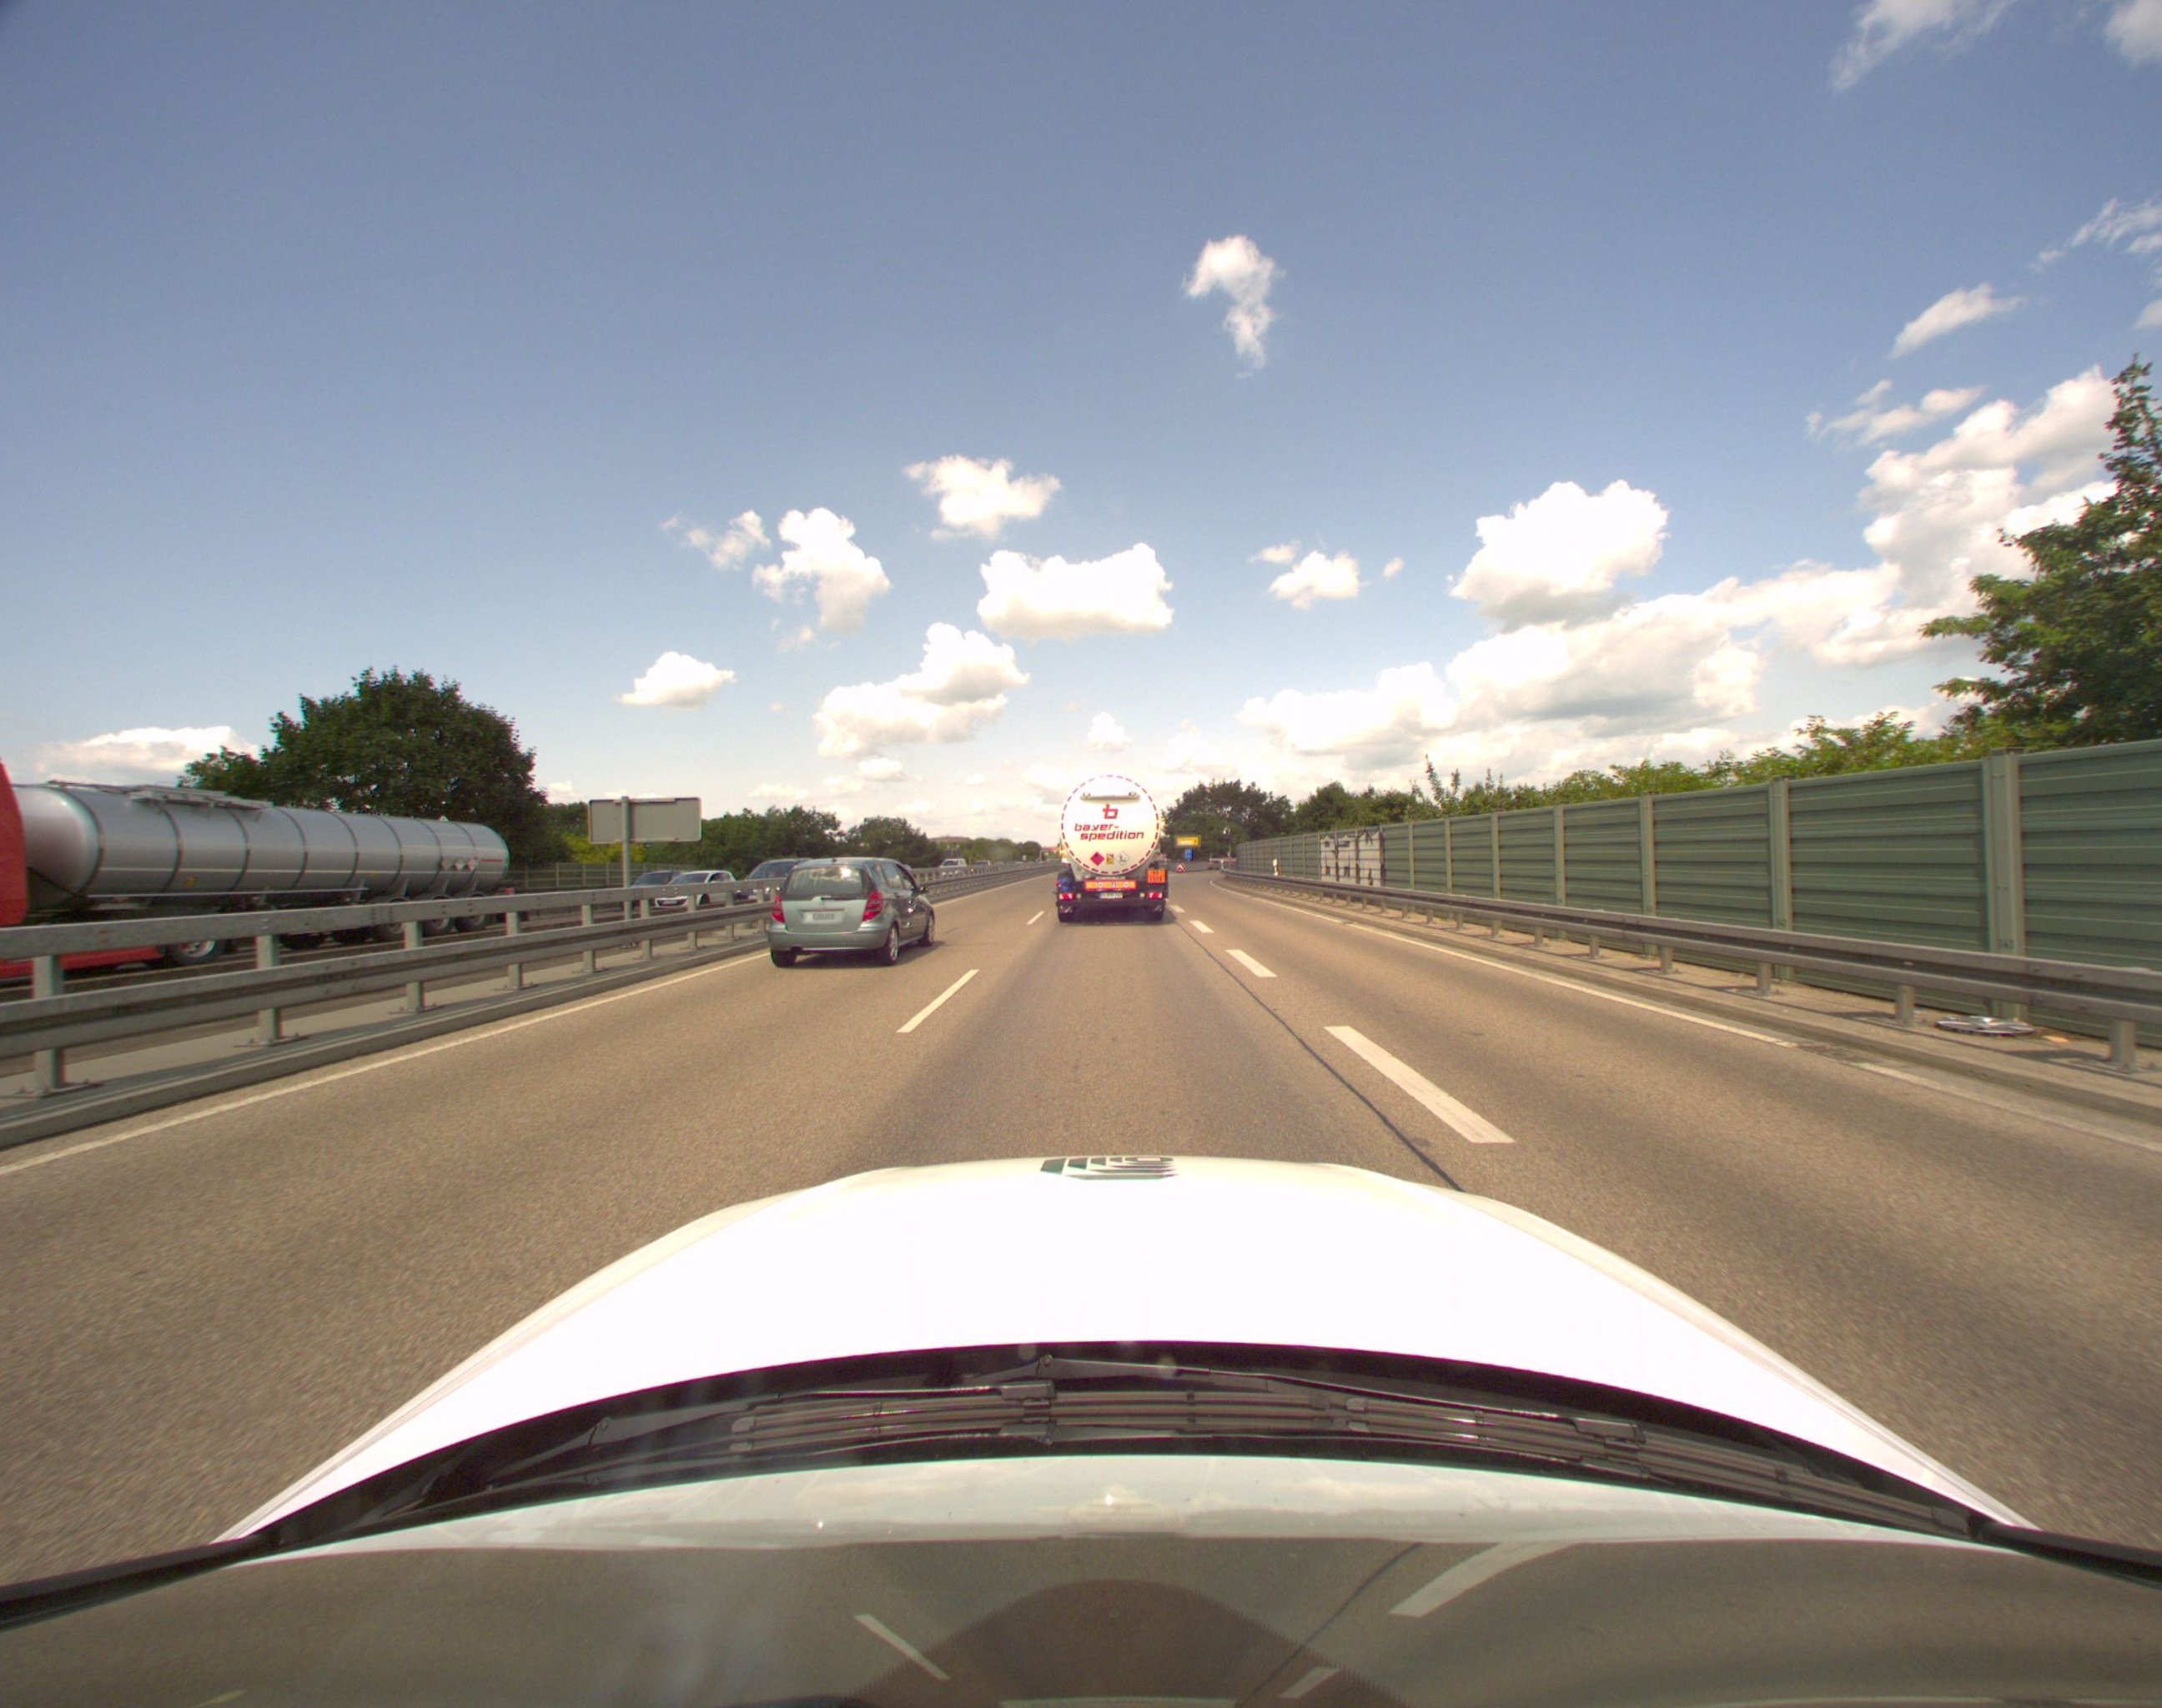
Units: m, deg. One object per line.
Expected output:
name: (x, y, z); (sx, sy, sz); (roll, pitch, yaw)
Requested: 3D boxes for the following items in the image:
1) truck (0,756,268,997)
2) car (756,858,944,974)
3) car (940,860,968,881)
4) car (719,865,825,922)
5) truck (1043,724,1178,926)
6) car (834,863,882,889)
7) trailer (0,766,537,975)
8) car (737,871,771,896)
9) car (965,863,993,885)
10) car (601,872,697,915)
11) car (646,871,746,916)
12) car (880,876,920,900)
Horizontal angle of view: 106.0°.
truck: (-18.279, 0.373, 13.838); (2.640, 3.782, 6.230); (0, -1, 0)
car: (-3.501, 0.865, 13.144); (1.741, 1.531, 4.001); (-1, 0, 1)
car: (-12.295, 1.576, 79.122); (1.954, 1.925, 5.190); (0, 0, -1)
car: (-10.396, 1.277, 27.789); (1.988, 1.750, 4.593); (0, -1, -2)
truck: (0.738, -0.603, 21.722); (2.885, 4.369, 8.031); (0, -1, 1)
car: (-14.073, 1.341, 51.563); (1.917, 1.574, 3.887); (0, -1, 1)
trailer: (-18.288, 0.336, 19.840); (2.676, 3.670, 11.026); (0, -1, 0)
car: (-23.230, 2.064, 57.746); (1.933, 1.574, 4.247); (-1, 0, -25)
car: (-9.024, 1.738, 72.233); (1.987, 1.857, 4.237); (0, -1, -1)
car: (-18.604, 1.653, 35.305); (1.708, 1.619, 4.283); (-3, -1, 1)
car: (-14.224, 1.428, 30.362); (1.776, 1.509, 3.960); (0, -1, 1)
car: (-13.507, 2.515, 60.867); (1.917, 1.574, 4.245); (-3, -1, 1)
